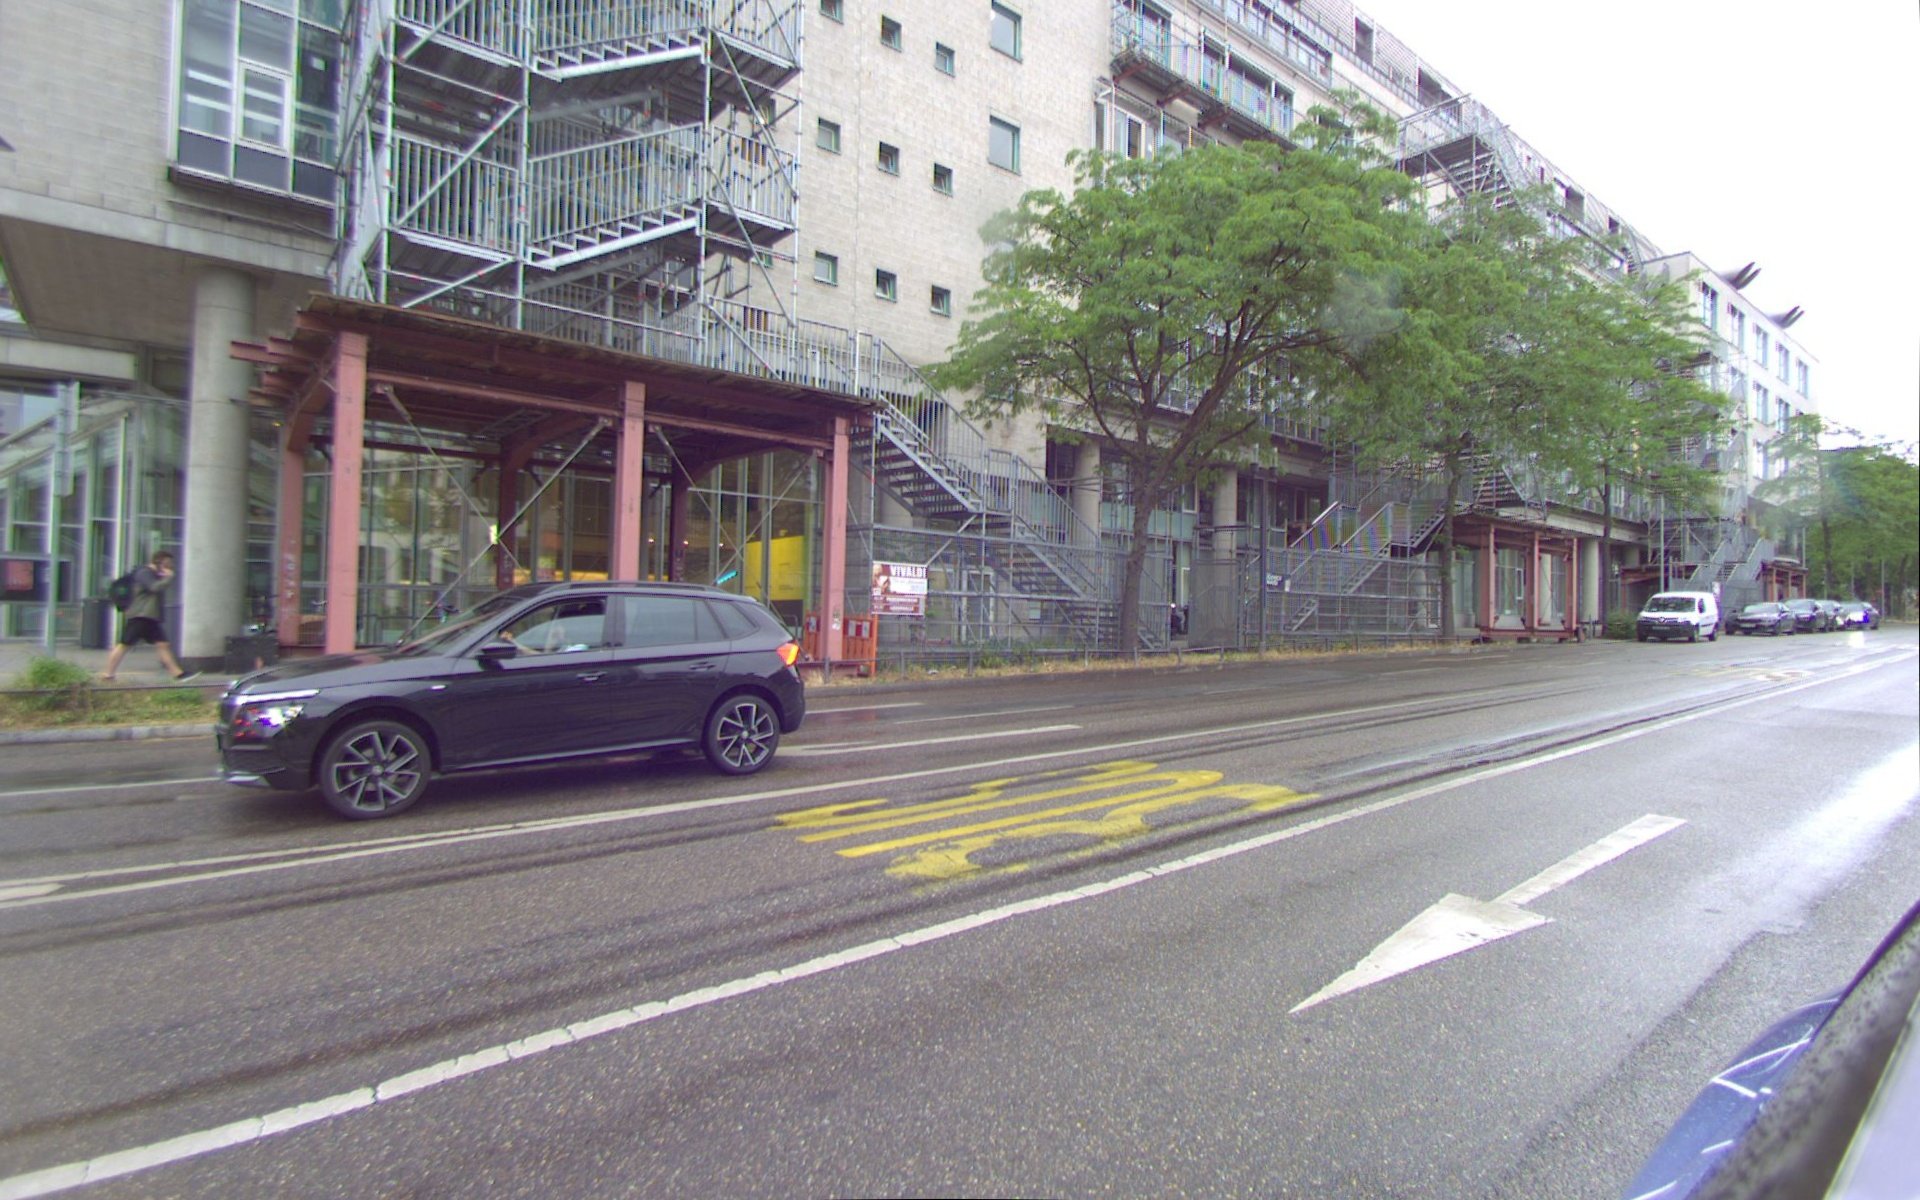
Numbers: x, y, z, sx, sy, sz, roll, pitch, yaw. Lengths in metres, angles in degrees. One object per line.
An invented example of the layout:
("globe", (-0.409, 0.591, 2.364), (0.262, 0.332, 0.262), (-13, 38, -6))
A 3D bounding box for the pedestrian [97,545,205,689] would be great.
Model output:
("pedestrian", (-11.002, 0.218, 13.798), (1.035, 1.875, 0.683), (0, 0, -29))

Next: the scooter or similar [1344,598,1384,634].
("scooter or similar", (13.814, 0.529, 34.564), (1.520, 1.176, 0.632), (0, 0, -41))

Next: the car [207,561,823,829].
("car", (-3.282, 0.543, 7.861), (4.071, 1.559, 1.782), (0, 0, -39))

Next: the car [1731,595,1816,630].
("car", (35.266, 0.520, 43.825), (4.831, 1.455, 1.873), (0, 0, -39))

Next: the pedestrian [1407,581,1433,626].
("pedestrian", (17.886, 0.128, 39.342), (0.641, 1.764, 0.678), (0, 0, -38))

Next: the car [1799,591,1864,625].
("car", (44.399, 0.402, 51.542), (4.512, 1.621, 1.865), (0, 0, -41))

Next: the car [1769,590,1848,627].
("car", (40.370, 0.376, 48.129), (4.774, 1.667, 1.998), (0, 0, -39))

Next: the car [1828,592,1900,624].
("car", (49.121, 0.420, 54.969), (5.191, 1.621, 1.999), (0, 0, -38))

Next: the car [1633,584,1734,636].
("car", (26.233, 0.328, 36.636), (4.447, 1.772, 1.997), (0, 0, -41))
